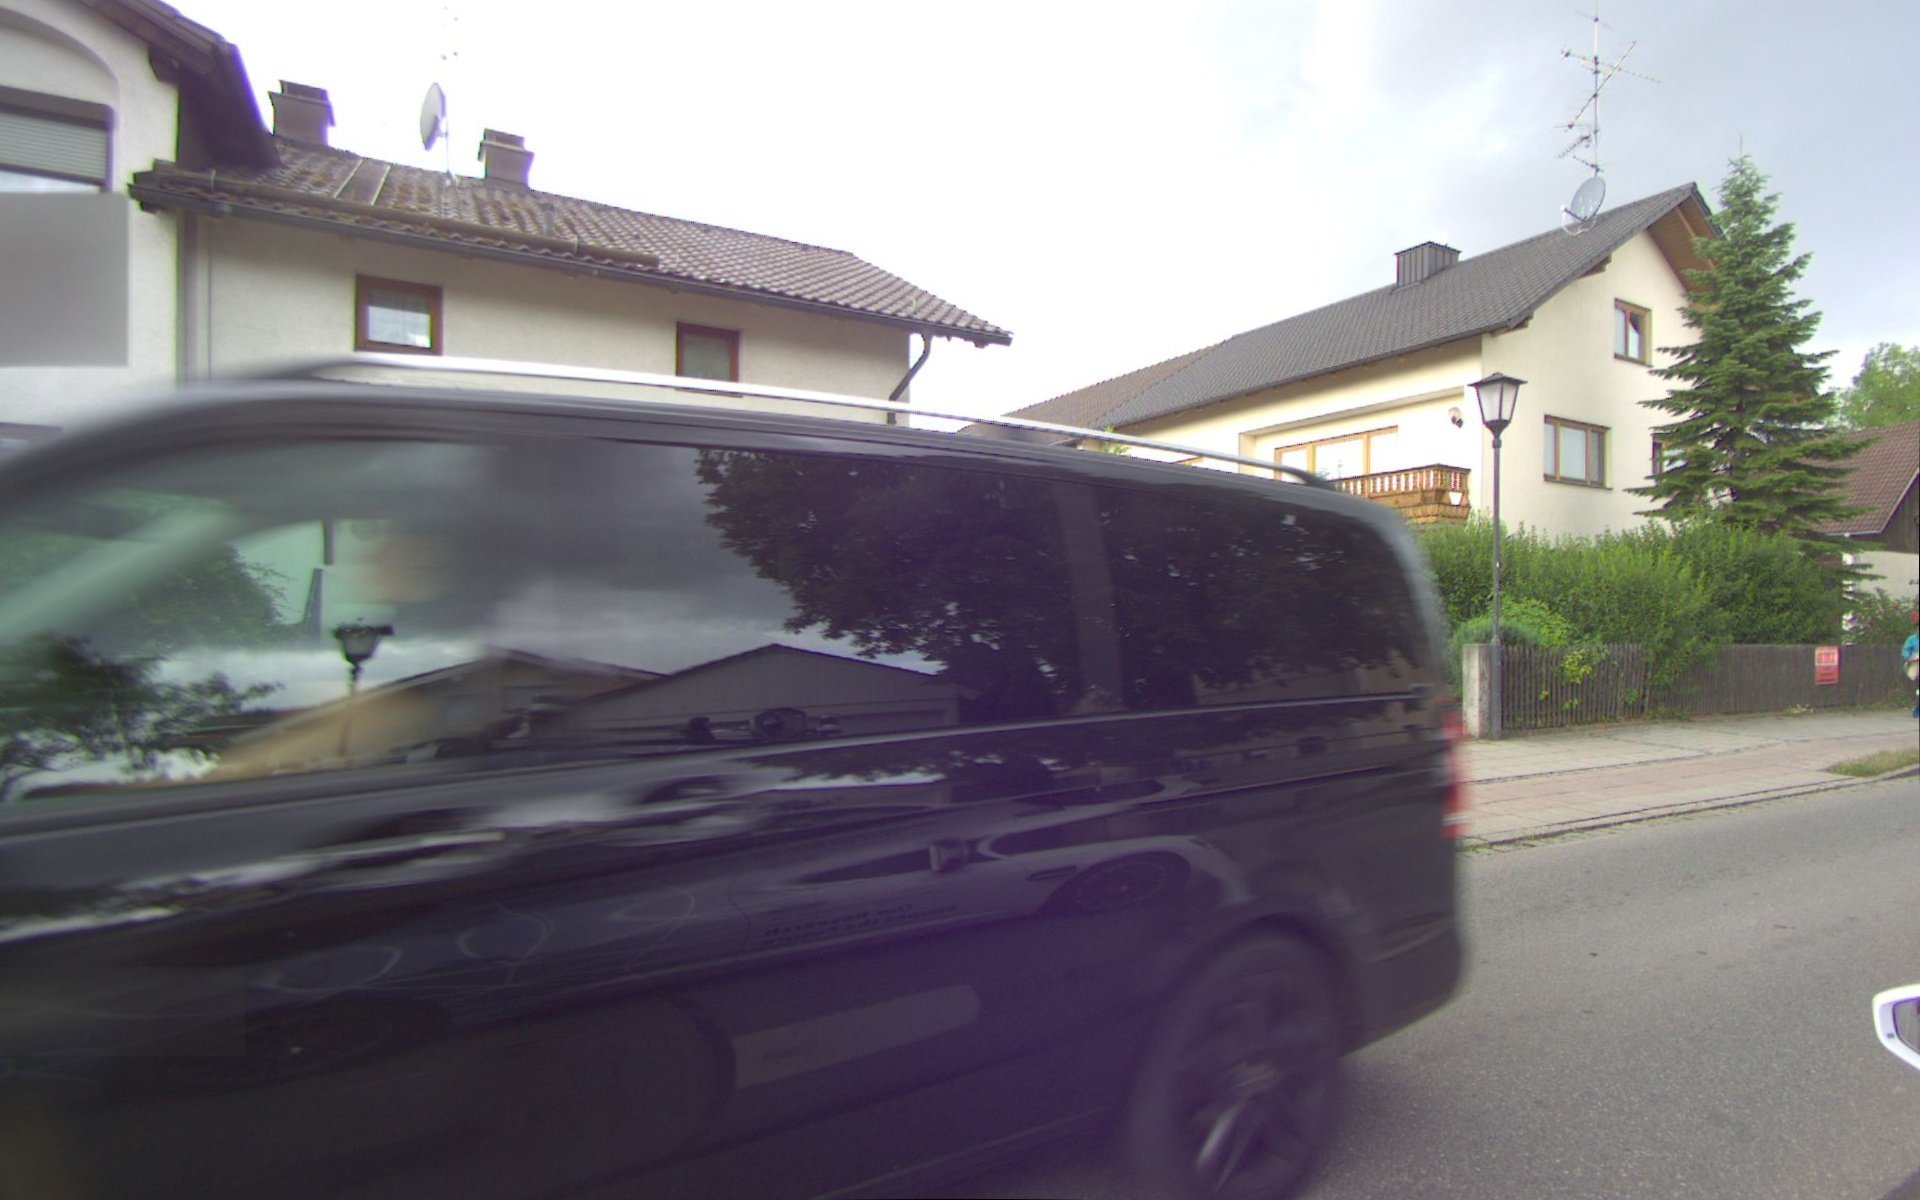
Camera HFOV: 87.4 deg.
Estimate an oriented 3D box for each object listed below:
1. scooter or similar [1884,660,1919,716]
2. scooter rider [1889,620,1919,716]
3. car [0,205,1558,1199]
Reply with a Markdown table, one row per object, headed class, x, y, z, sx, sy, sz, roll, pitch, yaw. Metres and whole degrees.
| class | x | y | z | sx | sy | sz | roll | pitch | yaw |
| --- | --- | --- | --- | --- | --- | --- | --- | --- | --- |
| scooter or similar | 15.429 | 1.406 | 16.169 | 1.049 | 0.861 | 0.519 | 1 | 0 | -29 |
| scooter rider | 15.439 | 1.088 | 16.178 | 0.707 | 1.509 | 0.500 | 1 | 0 | -30 |
| car | -0.890 | 0.493 | 2.505 | 4.888 | 1.878 | 1.956 | 2 | -1 | -30 |
